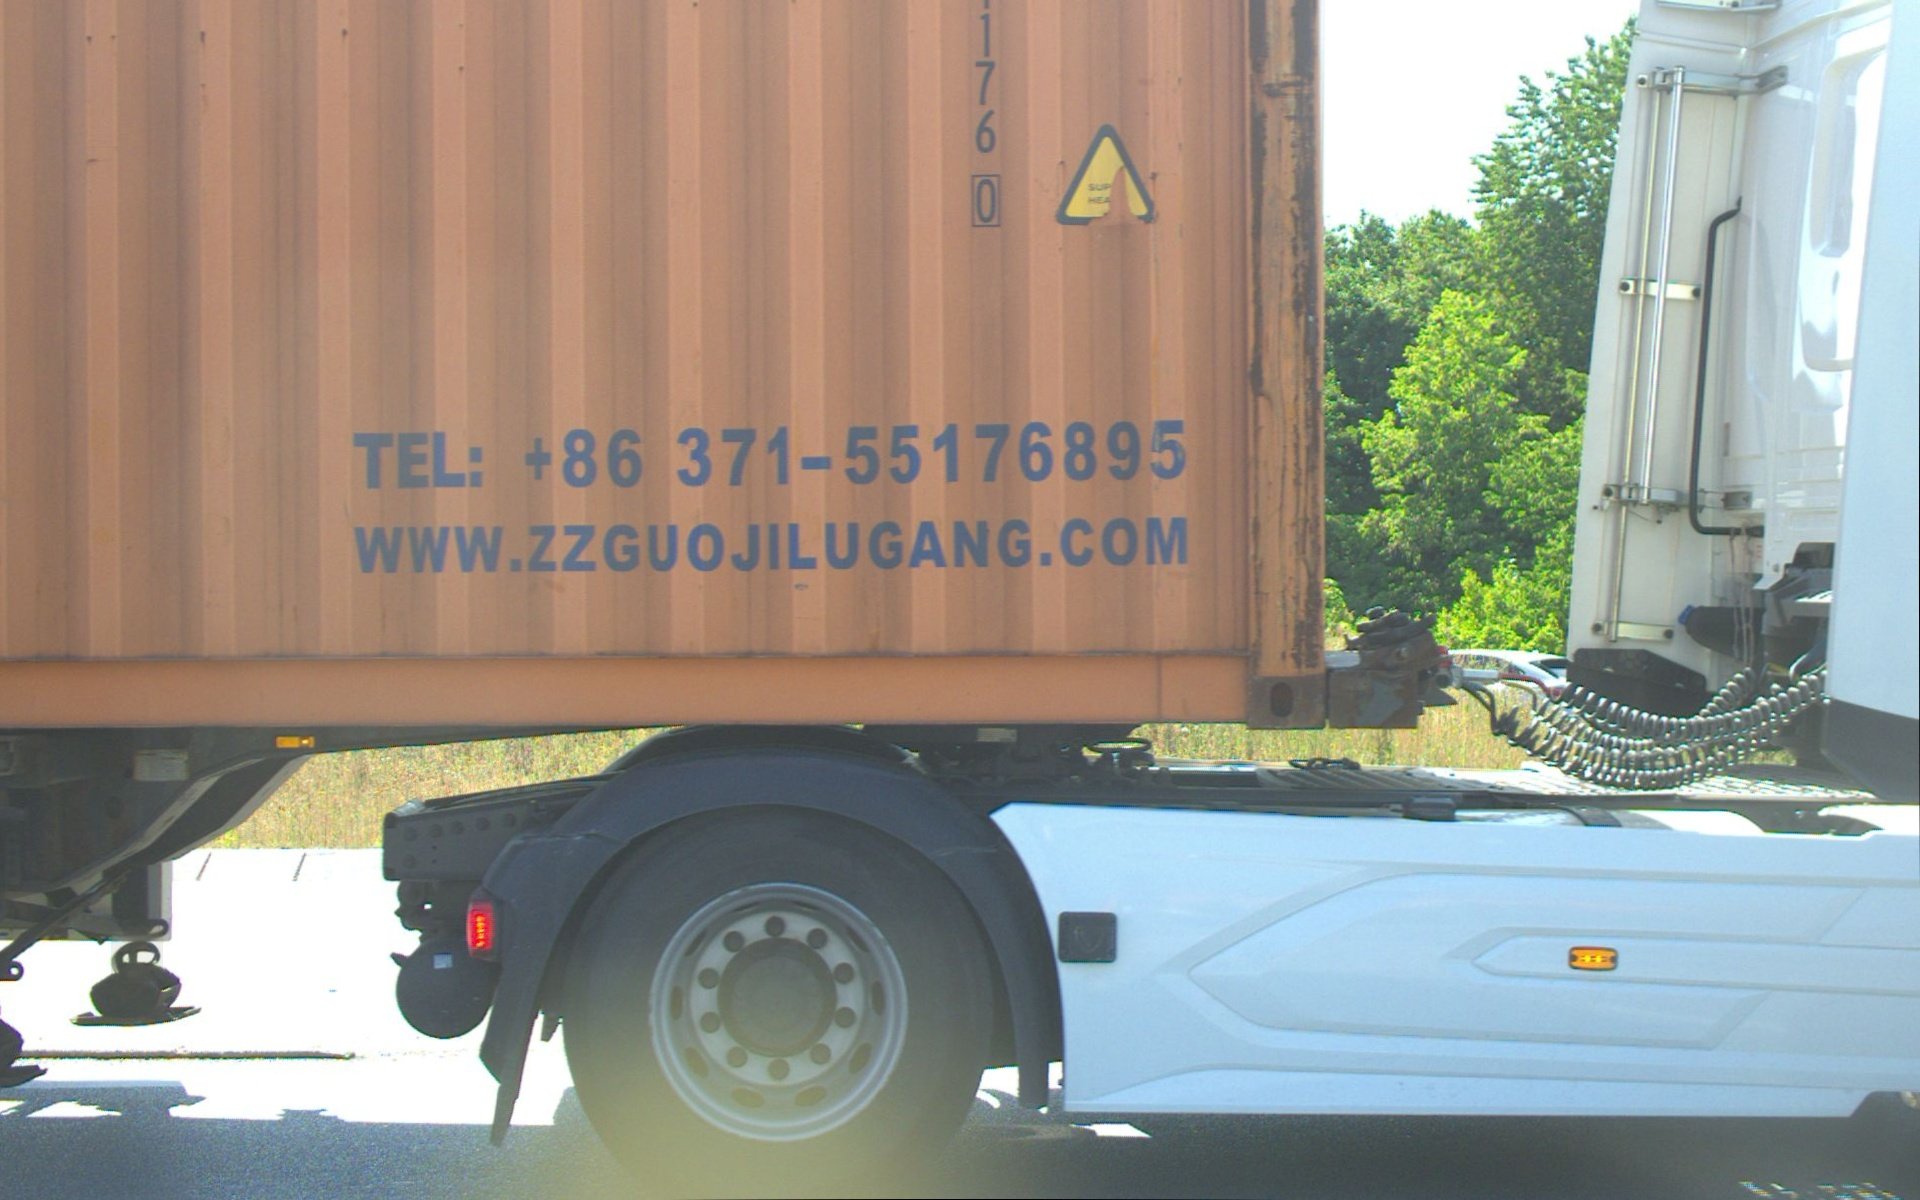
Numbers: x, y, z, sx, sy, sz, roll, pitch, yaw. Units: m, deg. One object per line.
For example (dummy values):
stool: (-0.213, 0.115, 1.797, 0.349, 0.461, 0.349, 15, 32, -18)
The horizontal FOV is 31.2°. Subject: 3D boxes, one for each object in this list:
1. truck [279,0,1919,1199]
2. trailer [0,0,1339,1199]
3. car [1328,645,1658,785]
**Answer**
truck: (1.645, -0.580, 9.092, 6.412, 4.093, 2.663, 1, 0, -3)
trailer: (-5.163, -0.615, 9.516, 12.323, 4.140, 2.560, 0, 0, 6)
car: (6.638, 1.407, 43.248, 1.841, 1.590, 4.325, 1, 0, -28)
